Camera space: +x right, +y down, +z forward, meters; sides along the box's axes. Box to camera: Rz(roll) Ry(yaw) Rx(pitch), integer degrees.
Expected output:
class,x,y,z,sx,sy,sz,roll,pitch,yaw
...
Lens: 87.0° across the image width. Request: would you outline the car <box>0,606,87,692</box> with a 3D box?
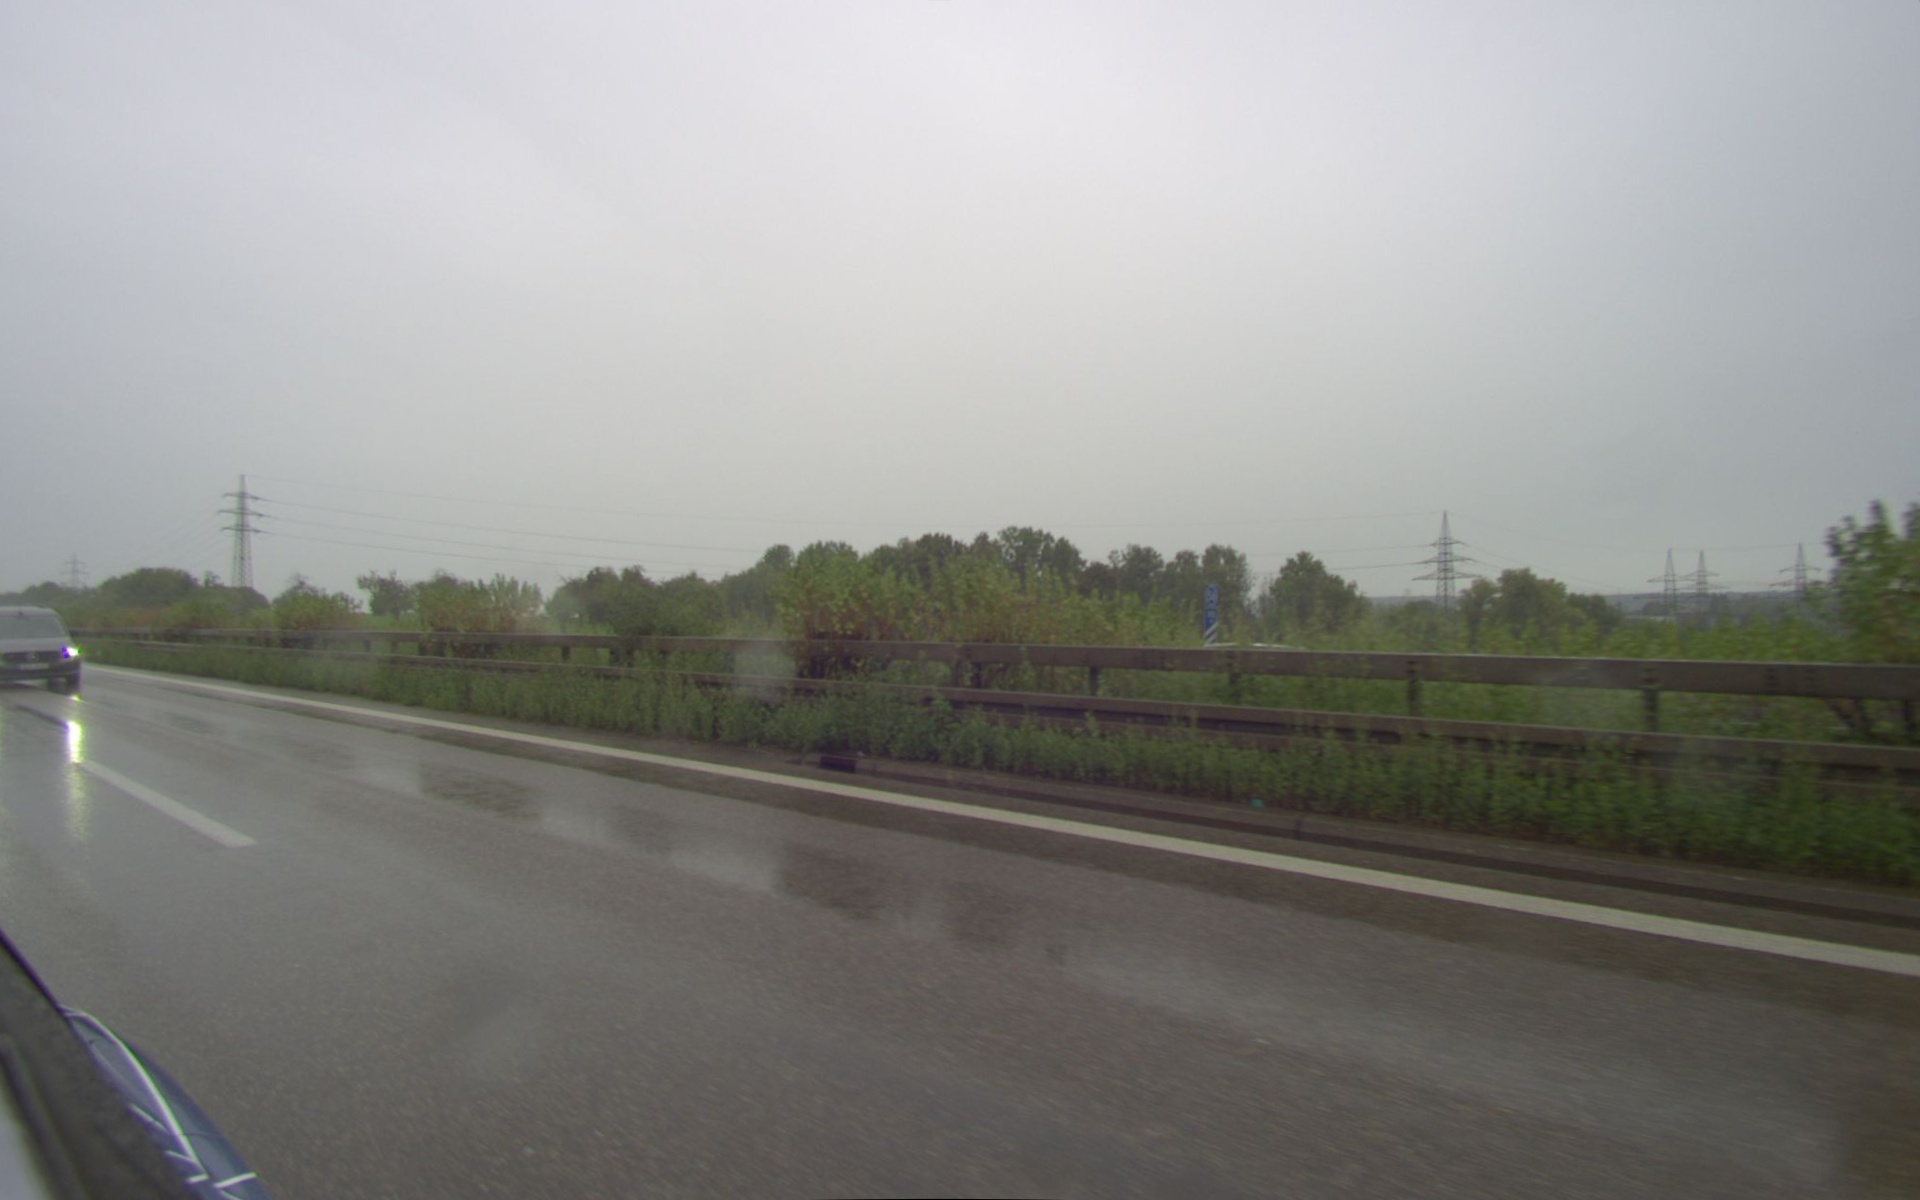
class,x,y,z,sx,sy,sz,roll,pitch,yaw
car,-21.583,1.072,23.122,4.500,1.787,2.020,-1,-1,43
